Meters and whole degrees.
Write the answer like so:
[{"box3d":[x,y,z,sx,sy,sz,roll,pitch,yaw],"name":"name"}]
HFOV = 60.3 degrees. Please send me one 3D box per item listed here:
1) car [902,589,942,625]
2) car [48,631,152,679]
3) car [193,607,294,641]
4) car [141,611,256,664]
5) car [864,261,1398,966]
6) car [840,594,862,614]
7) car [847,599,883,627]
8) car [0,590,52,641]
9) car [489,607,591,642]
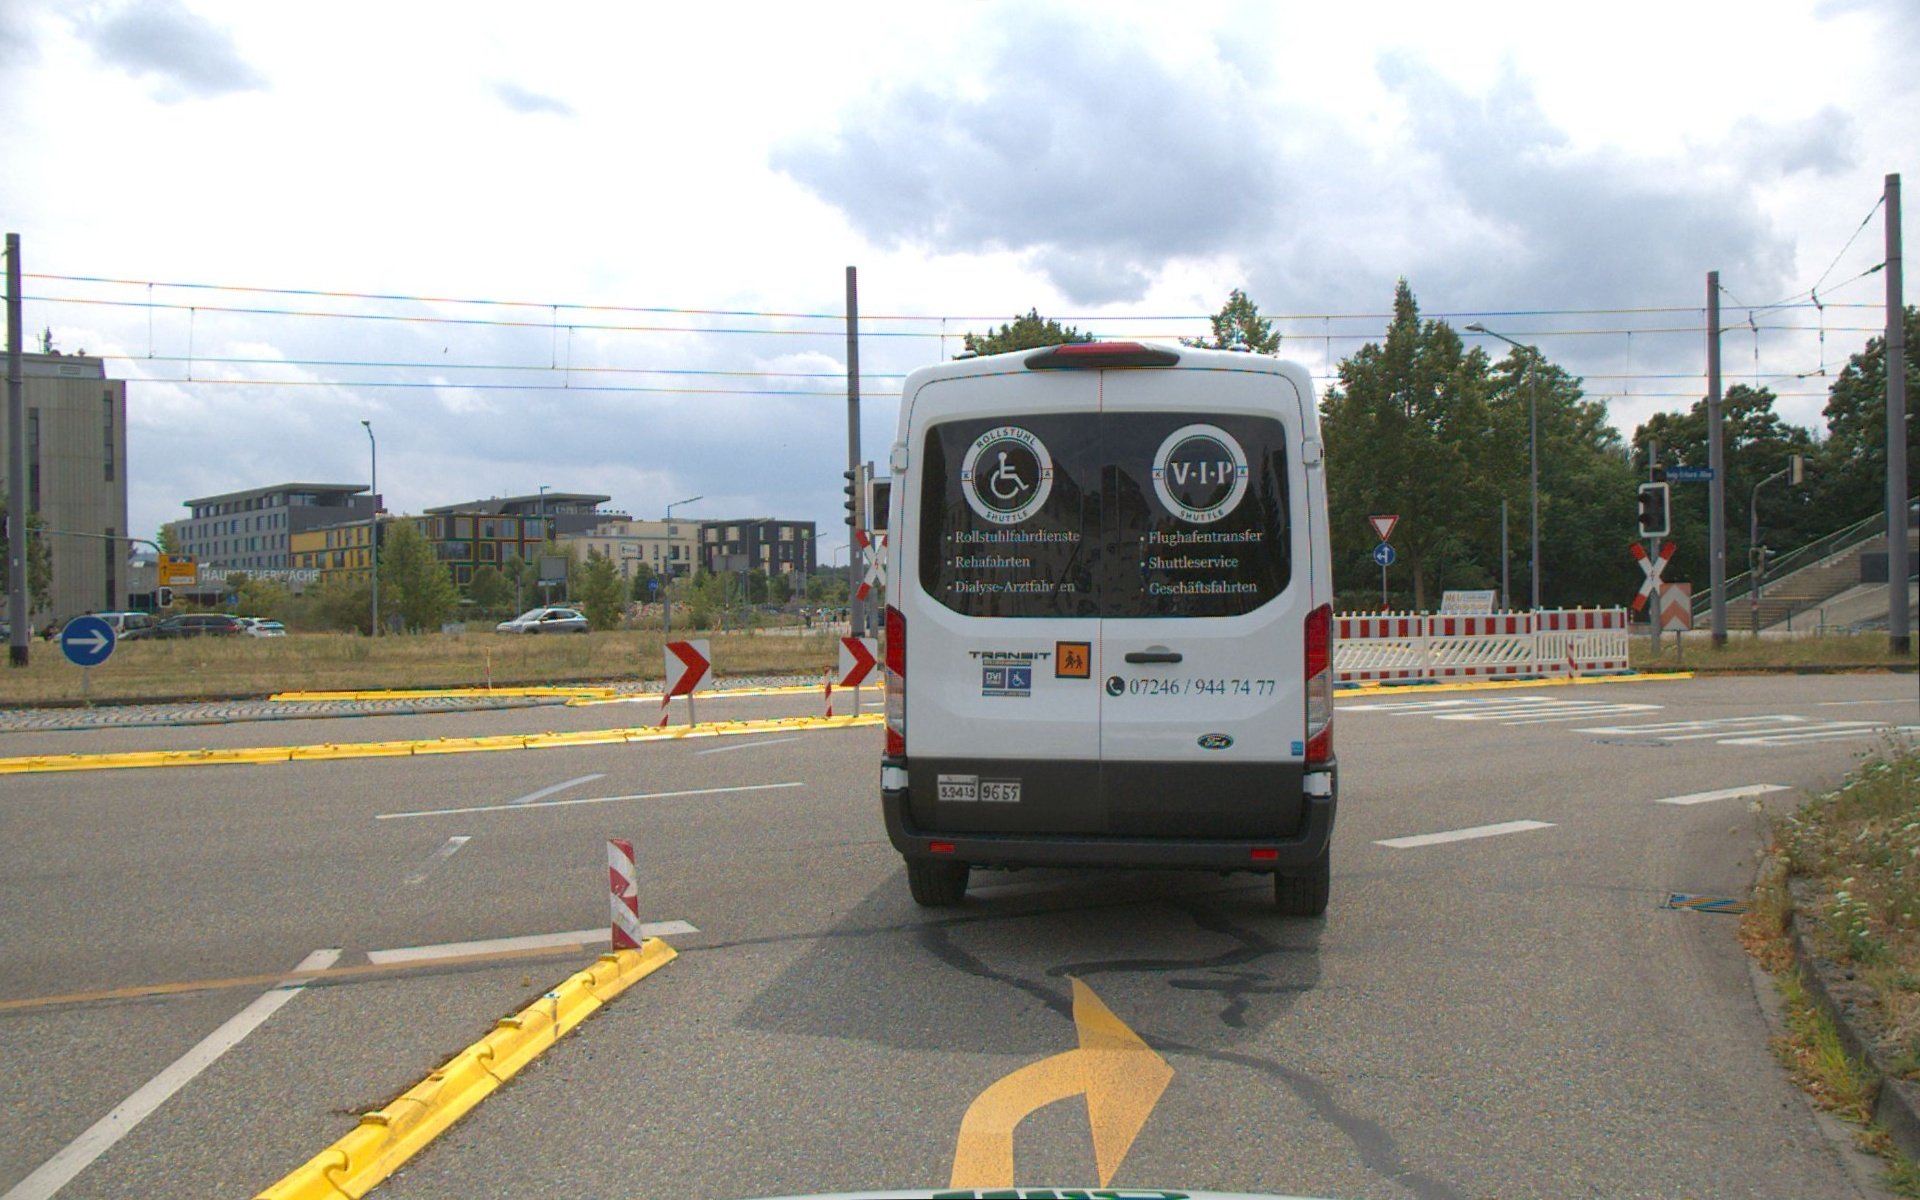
[{"box3d":[-2.335,0.451,99.937,1.956,2.049,3.992,0,-2,-8],"name":"car"},{"box3d":[-37.351,2.382,71.821,4.266,2.049,1.996,-1,-2,30],"name":"car"},{"box3d":[-32.281,1.091,74.503,3.902,1.489,1.834,0,-2,16],"name":"car"},{"box3d":[-30.152,1.496,65.608,3.927,2.049,1.988,1,-2,-20],"name":"car"},{"box3d":[1.046,0.075,9.372,2.081,2.745,5.636,-1,0,8],"name":"car"},{"box3d":[-11.064,0.417,168.311,1.953,1.881,3.999,0,-2,0],"name":"car"},{"box3d":[-6.570,0.902,114.387,1.951,1.881,4.002,0,-2,4],"name":"car"},{"box3d":[-39.326,0.665,67.757,3.912,2.049,1.996,-1,-2,30],"name":"car"},{"box3d":[-18.230,1.050,71.958,3.971,1.489,1.803,0,-1,-45],"name":"car"}]
